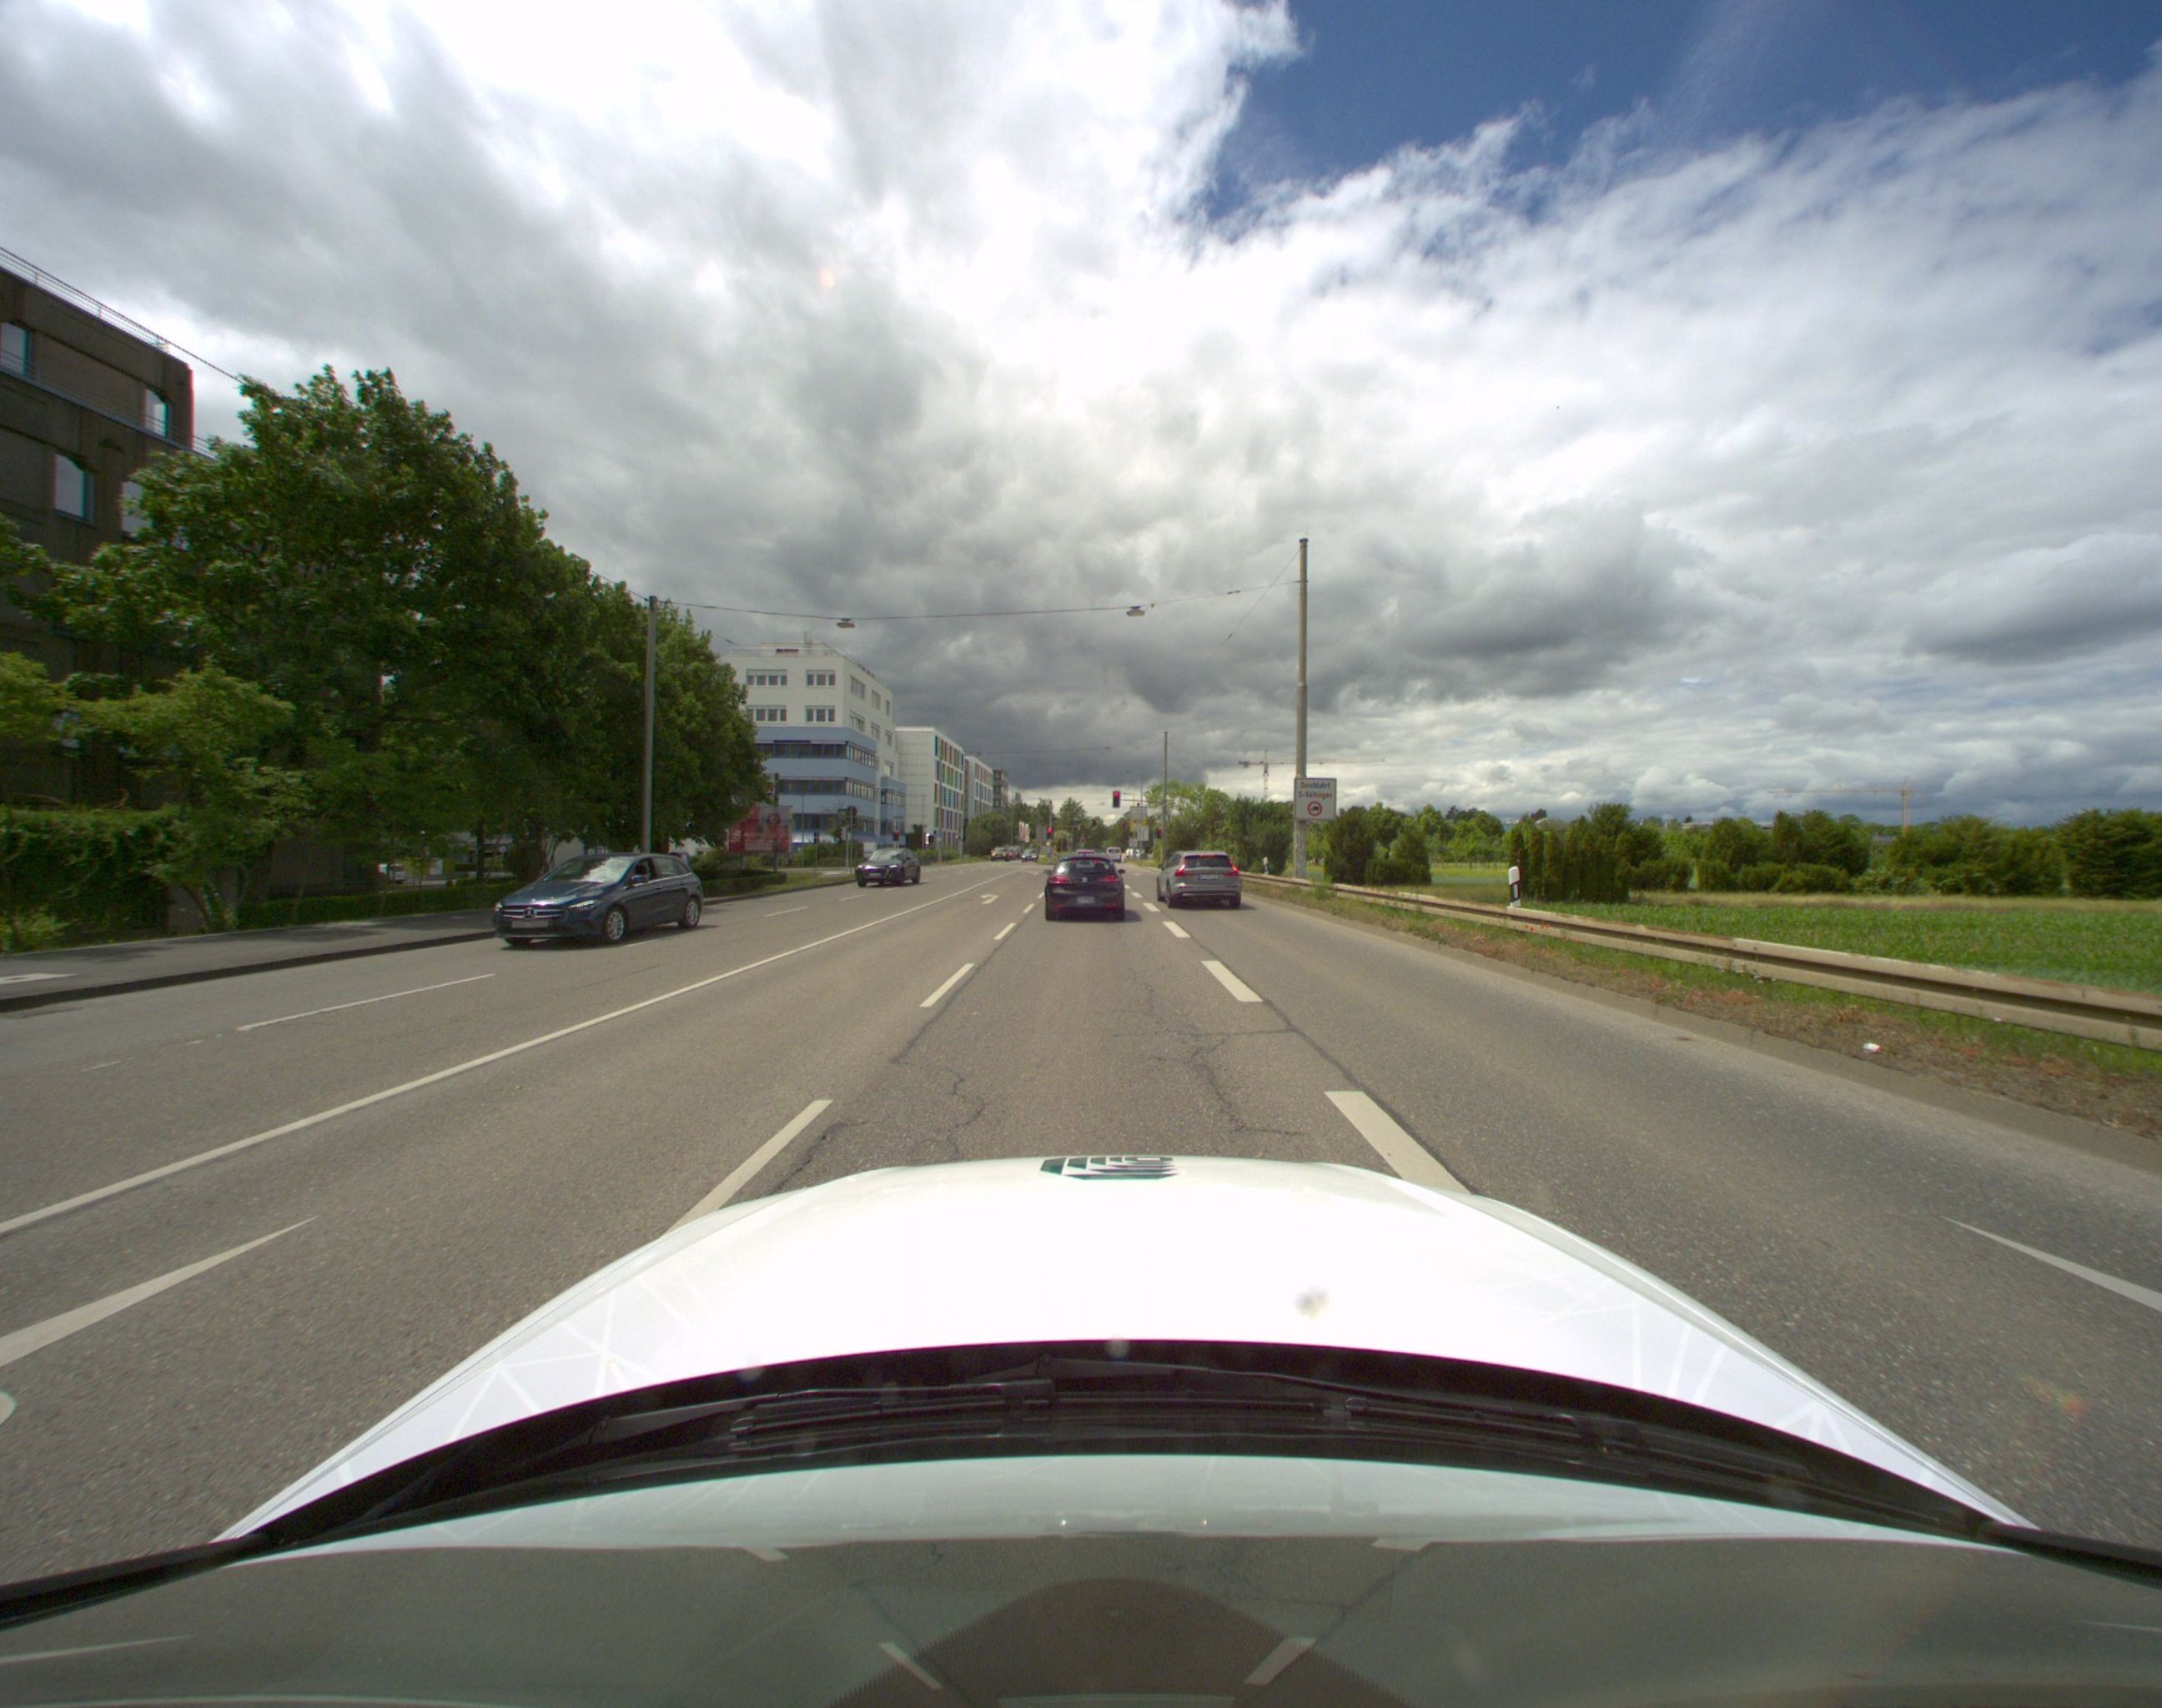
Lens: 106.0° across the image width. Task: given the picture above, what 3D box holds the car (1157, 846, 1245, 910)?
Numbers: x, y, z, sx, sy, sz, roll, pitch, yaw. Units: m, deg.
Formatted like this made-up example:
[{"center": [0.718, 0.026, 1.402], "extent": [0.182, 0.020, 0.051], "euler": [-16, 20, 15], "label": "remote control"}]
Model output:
[{"center": [3.152, 0.598, 22.198], "extent": [1.950, 1.525, 4.343], "euler": [-1, 0, 3], "label": "car"}]

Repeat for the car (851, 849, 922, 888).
[{"center": [-8.416, 0.608, 35.651], "extent": [1.861, 1.615, 4.573], "euler": [0, 0, 1], "label": "car"}]

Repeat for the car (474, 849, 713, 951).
[{"center": [-8.721, 0.724, 15.090], "extent": [1.790, 1.585, 4.313], "euler": [-1, 0, 0], "label": "car"}]

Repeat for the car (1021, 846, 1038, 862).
[{"center": [-5.603, -0.007, 89.049], "extent": [1.663, 1.524, 4.007], "euler": [-2, 2, 0], "label": "car"}]

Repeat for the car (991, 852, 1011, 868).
[{"center": [-8.880, 0.666, 90.510], "extent": [1.746, 1.631, 3.999], "euler": [-1, 0, 0], "label": "car"}]

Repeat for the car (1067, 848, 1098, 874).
[{"center": [0.074, 0.417, 54.086], "extent": [1.978, 1.590, 4.224], "euler": [1, 1, -1], "label": "car"}]

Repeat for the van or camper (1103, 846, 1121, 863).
[{"center": [3.805, 0.105, 101.544], "extent": [1.895, 1.926, 3.995], "euler": [1, -2, -3], "label": "van or camper"}]

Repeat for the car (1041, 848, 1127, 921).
[{"center": [0.176, 0.643, 18.769], "extent": [1.740, 1.484, 4.003], "euler": [-1, 0, 3], "label": "car"}]
